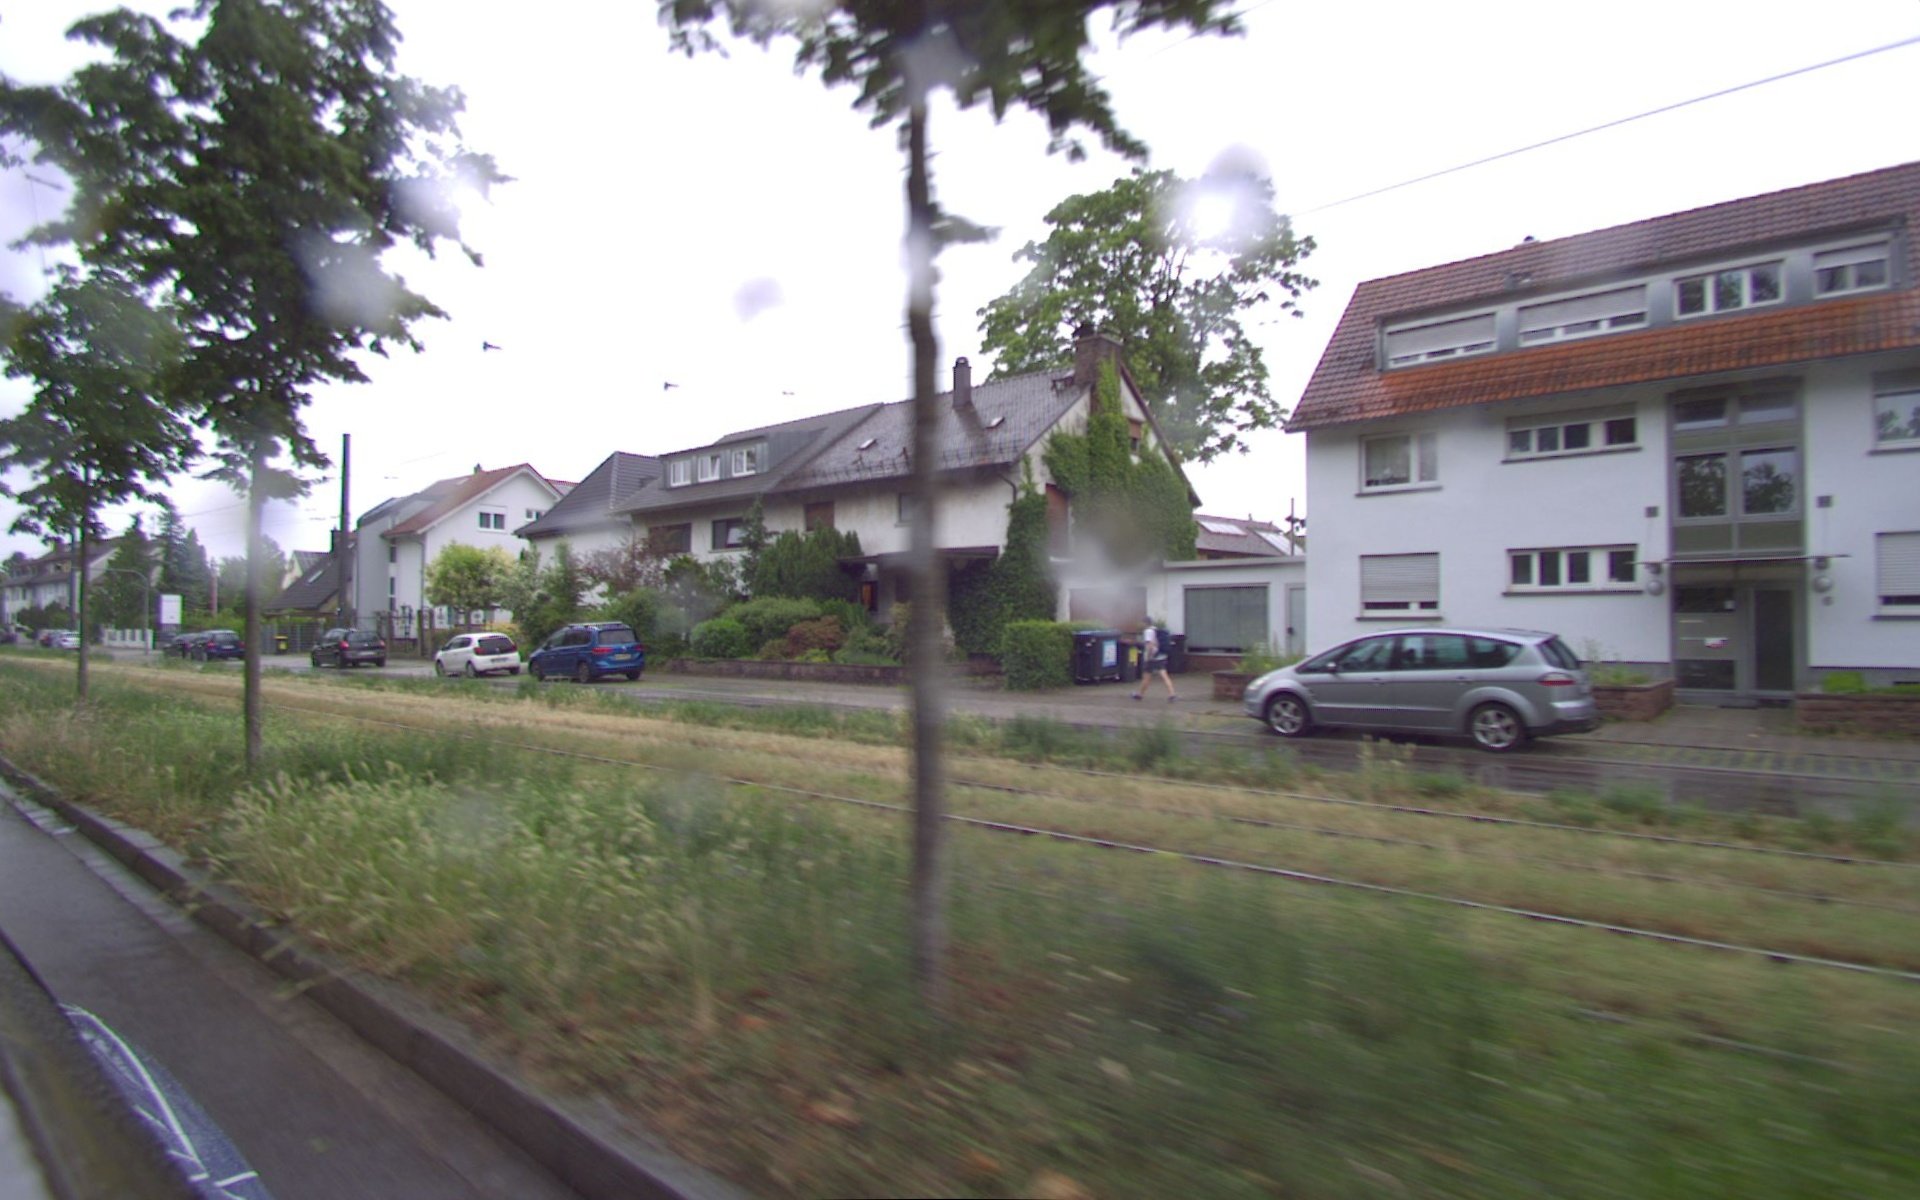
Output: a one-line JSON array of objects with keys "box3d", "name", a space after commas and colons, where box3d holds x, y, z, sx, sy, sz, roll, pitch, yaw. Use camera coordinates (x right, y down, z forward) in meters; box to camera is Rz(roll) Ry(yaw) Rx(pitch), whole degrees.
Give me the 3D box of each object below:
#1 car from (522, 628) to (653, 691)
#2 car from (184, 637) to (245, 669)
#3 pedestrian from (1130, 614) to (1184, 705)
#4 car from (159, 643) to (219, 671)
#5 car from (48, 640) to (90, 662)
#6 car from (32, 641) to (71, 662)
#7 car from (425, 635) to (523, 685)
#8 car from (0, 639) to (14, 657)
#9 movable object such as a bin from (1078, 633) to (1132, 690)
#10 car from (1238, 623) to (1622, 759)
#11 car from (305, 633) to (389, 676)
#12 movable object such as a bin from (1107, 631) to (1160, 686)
[{"box3d": [-11.199, 1.724, 30.328, 4.178, 1.719, 1.826, -2, -1, 39], "name": "car"}, {"box3d": [-39.108, 2.769, 53.066, 3.852, 1.527, 1.736, -2, 0, 41], "name": "car"}, {"box3d": [3.947, 1.180, 20.299, 0.869, 1.781, 0.592, -2, -2, 41], "name": "pedestrian"}, {"box3d": [-42.537, 3.116, 55.797, 3.998, 1.510, 1.869, -2, -3, 41], "name": "car"}, {"box3d": [-65.342, 3.723, 74.210, 3.852, 1.527, 1.736, -2, 0, 41], "name": "car"}, {"box3d": [-69.036, 3.890, 76.886, 3.852, 1.527, 1.736, -2, 0, 41], "name": "car"}, {"box3d": [-16.729, 2.011, 34.786, 3.598, 1.540, 1.696, -2, 0, 40], "name": "car"}, {"box3d": [-86.619, 4.338, 91.088, 3.852, 1.527, 1.736, -2, 0, 41], "name": "car"}, {"box3d": [3.490, 1.454, 24.317, 0.739, 1.308, 1.172, -2, -1, 42], "name": "movable object such as a bin"}, {"box3d": [6.666, 1.191, 14.697, 4.682, 1.626, 1.972, -2, -1, 42], "name": "car"}, {"box3d": [-25.491, 2.242, 42.037, 4.108, 1.626, 1.736, -2, 0, 41], "name": "car"}, {"box3d": [4.317, 1.442, 25.214, 0.739, 1.308, 1.241, -2, -1, 42], "name": "movable object such as a bin"}]
